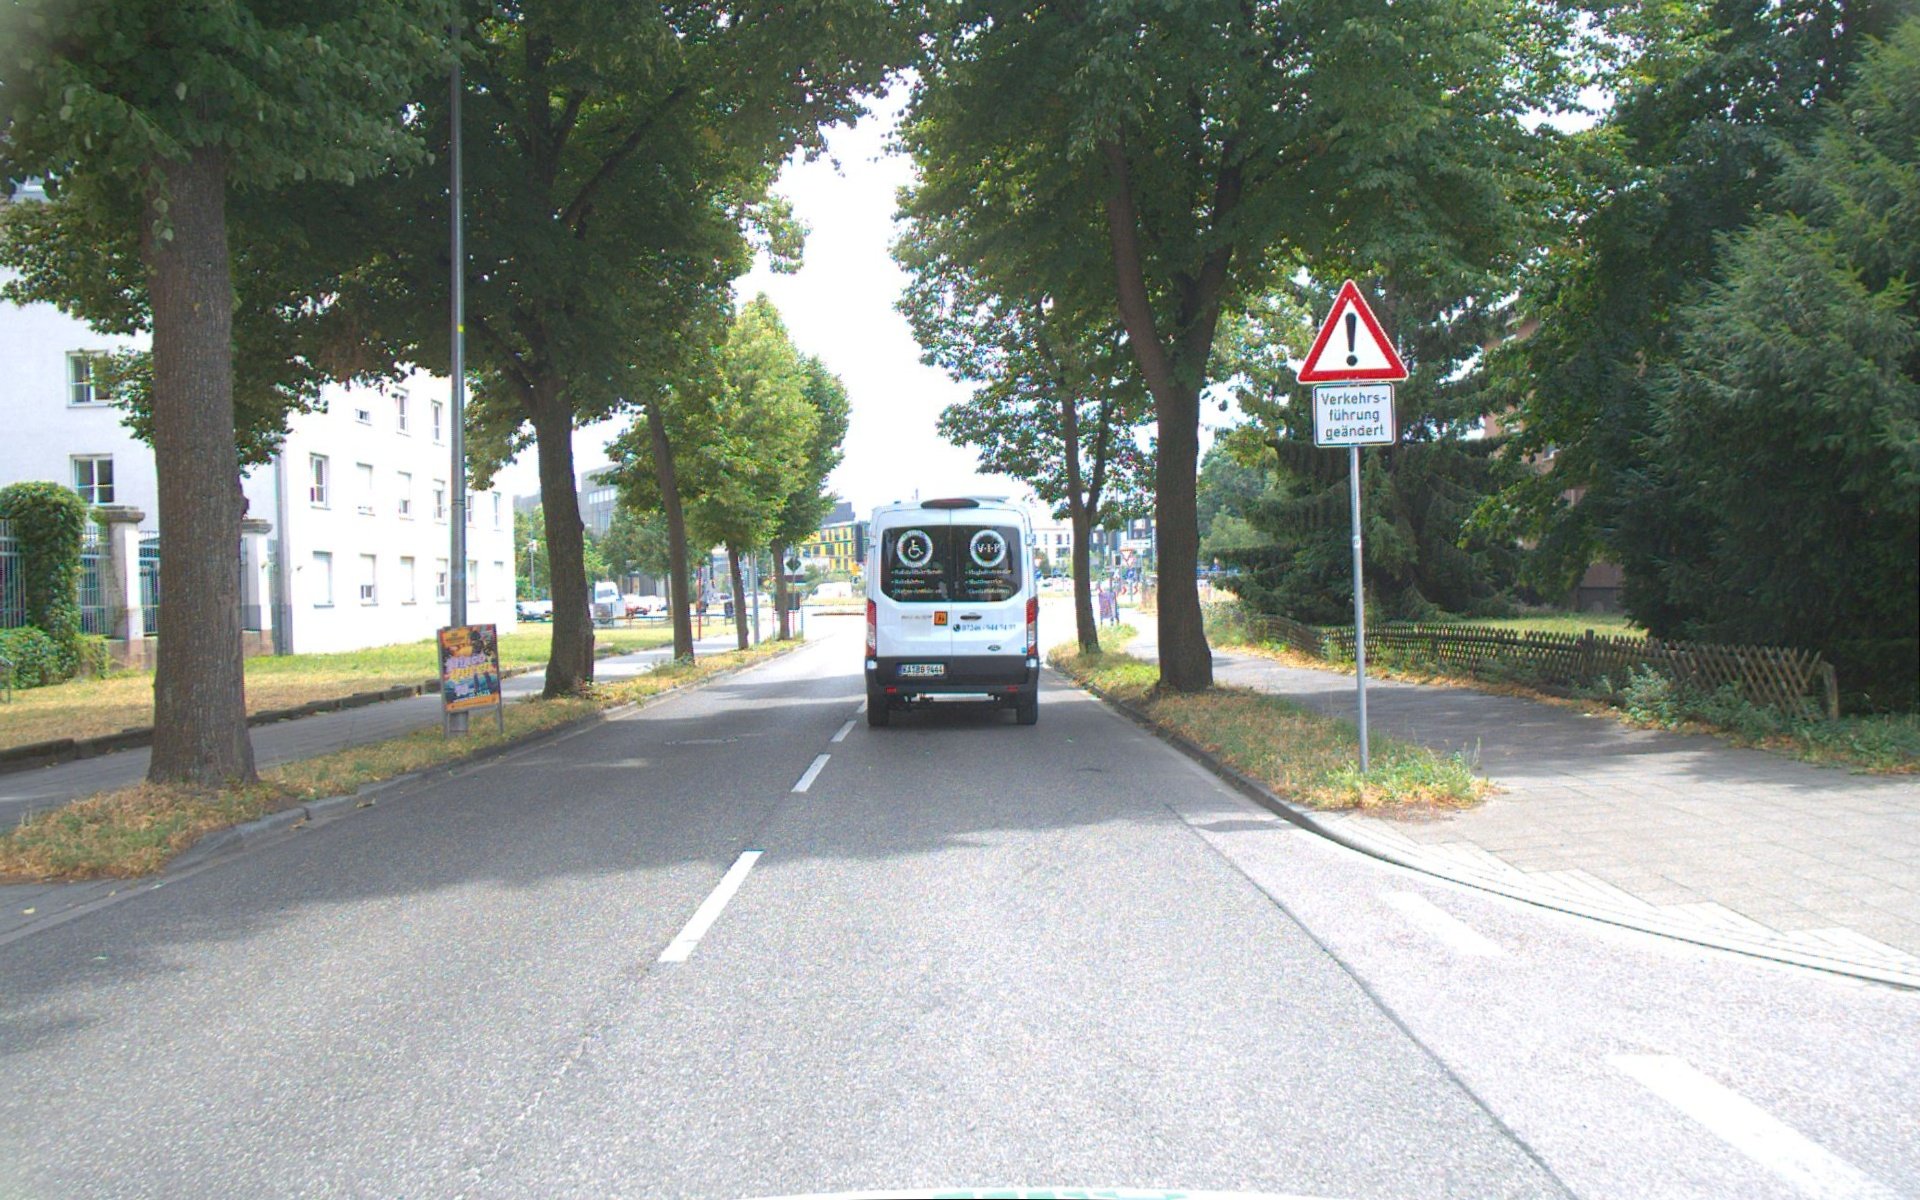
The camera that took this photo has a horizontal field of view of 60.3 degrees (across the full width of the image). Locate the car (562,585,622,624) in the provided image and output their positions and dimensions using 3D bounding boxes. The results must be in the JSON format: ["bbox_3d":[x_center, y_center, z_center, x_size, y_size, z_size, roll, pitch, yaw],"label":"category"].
[{"bbox_3d":[-30.391,0.367,136.516,2.594,2.900,5.596,-4,1,-38],"label":"car"}]

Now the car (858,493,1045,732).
[{"bbox_3d":[-0.165,0.139,19.971,2.021,2.584,3.998,0,0,-2],"label":"car"}]

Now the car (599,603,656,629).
[{"bbox_3d":[-25.300,1.241,125.892,3.914,1.690,1.887,-3,1,31],"label":"car"}]
